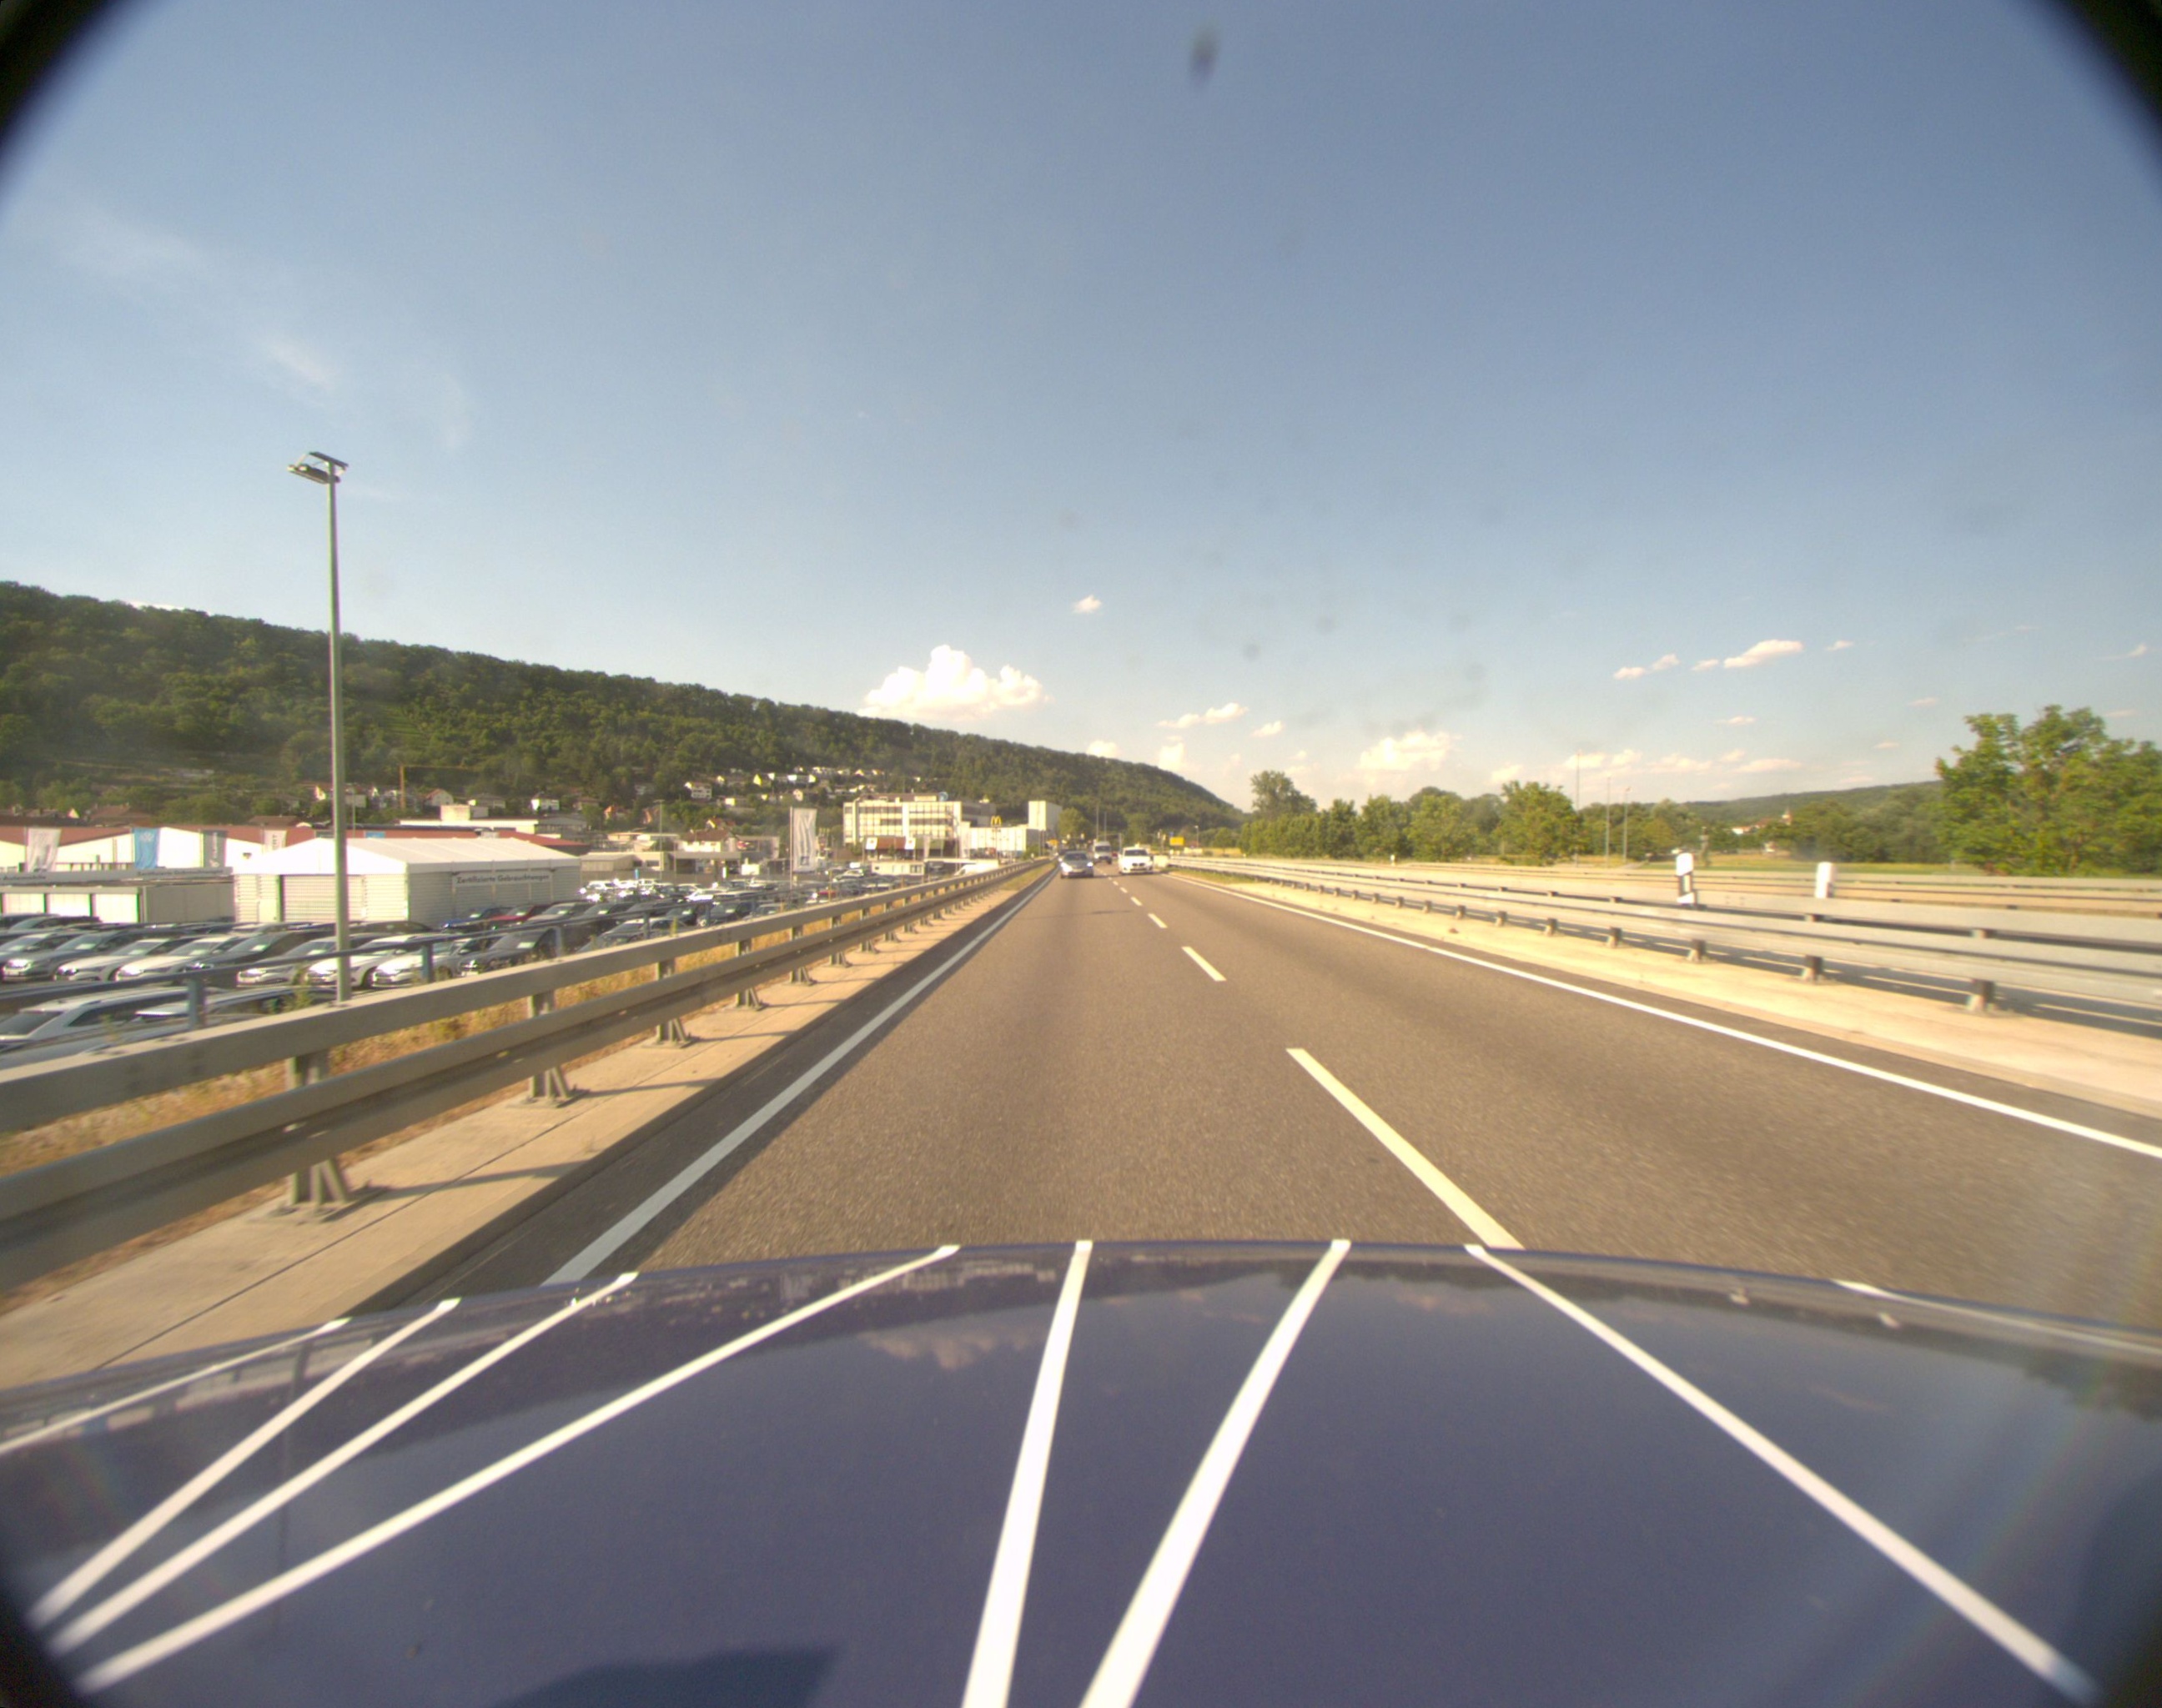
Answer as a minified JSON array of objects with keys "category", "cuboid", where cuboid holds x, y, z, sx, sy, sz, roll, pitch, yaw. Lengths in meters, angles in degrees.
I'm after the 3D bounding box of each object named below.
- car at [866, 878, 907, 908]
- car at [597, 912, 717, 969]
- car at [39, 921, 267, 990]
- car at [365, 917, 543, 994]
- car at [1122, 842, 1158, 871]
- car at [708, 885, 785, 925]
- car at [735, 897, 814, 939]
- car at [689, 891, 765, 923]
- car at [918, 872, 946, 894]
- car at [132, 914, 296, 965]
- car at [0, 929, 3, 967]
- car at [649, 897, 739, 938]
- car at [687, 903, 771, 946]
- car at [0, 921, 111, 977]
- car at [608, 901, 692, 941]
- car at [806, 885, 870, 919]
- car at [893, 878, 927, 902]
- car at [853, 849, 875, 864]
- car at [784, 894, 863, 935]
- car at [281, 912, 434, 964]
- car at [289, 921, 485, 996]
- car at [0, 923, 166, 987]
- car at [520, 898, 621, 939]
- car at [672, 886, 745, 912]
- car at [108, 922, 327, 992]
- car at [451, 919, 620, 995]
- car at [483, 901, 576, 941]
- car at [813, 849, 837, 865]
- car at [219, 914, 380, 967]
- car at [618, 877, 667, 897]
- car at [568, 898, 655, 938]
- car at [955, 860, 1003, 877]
[{"category":"car","cuboid":[-13.267,2.637,52.058,1.885,1.616,4.726,-2,1,-4]},{"category":"car","cuboid":[-17.203,3.454,31.167,1.884,1.627,4.730,-2,1,5]},{"category":"car","cuboid":[-31.845,3.417,26.358,1.884,1.627,4.729,-2,1,3]},{"category":"car","cuboid":[-20.097,3.180,24.684,1.840,1.706,4.665,-2,1,-1]},{"category":"car","cuboid":[3.438,0.107,44.791,1.825,1.552,3.999,-2,1,1]},{"category":"car","cuboid":[-20.112,3.012,45.942,1.883,1.920,4.732,-2,1,10]},{"category":"car","cuboid":[-15.837,3.249,39.594,1.884,1.627,4.730,-2,1,4]},{"category":"car","cuboid":[-22.188,3.276,47.894,1.883,1.513,4.732,-2,1,10]},{"category":"car","cuboid":[-13.393,2.577,68.423,1.742,1.616,4.309,-2,1,-2]},{"category":"car","cuboid":[-38.972,3.798,34.357,1.883,1.627,4.574,-2,1,5]},{"category":"car","cuboid":[-43.794,3.745,27.739,1.884,1.627,4.730,-2,1,5]},{"category":"car","cuboid":[-20.397,3.302,40.300,1.883,1.627,4.730,-2,1,6]},{"category":"car","cuboid":[-18.274,3.624,39.718,1.884,1.627,4.729,-2,1,4]},{"category":"car","cuboid":[-38.921,3.526,27.266,1.884,1.627,4.730,-2,1,5]},{"category":"car","cuboid":[-22.844,3.514,40.428,1.778,1.674,4.001,-2,1,7]},{"category":"car","cuboid":[-14.659,2.872,46.163,1.884,1.616,4.730,-2,1,5]},{"category":"car","cuboid":[-13.732,2.891,61.340,1.742,1.616,4.310,-2,1,0]},{"category":"car","cuboid":[-36.437,0.413,127.745,1.759,2.233,5.297,-2,1,3]},{"category":"car","cuboid":[-13.164,3.065,39.238,1.883,1.616,4.731,-2,1,8]},{"category":"car","cuboid":[-31.675,3.623,33.509,1.883,1.627,4.730,-2,1,5]},{"category":"car","cuboid":[-22.434,3.311,24.904,1.884,1.627,4.729,-2,1,2]},{"category":"car","cuboid":[-36.600,3.581,27.117,1.884,1.627,4.730,-2,1,5]},{"category":"car","cuboid":[-27.507,3.428,41.176,1.883,1.627,4.730,-2,1,6]},{"category":"car","cuboid":[-27.575,3.328,56.316,4.434,1.627,1.886,-2,2,8]},{"category":"car","cuboid":[-29.304,3.436,26.080,1.884,1.627,4.730,-2,1,4]},{"category":"car","cuboid":[-17.341,3.205,24.533,2.004,1.641,4.728,-2,1,-1]},{"category":"car","cuboid":[-29.925,3.620,41.415,1.778,1.674,4.001,-2,1,7]},{"category":"car","cuboid":[-41.798,0.474,124.234,1.759,2.535,5.469,-2,1,3]},{"category":"car","cuboid":[-34.213,3.727,33.513,1.883,1.627,4.730,-2,1,5]},{"category":"car","cuboid":[-45.884,3.440,79.560,3.995,1.849,1.927,-2,2,8]},{"category":"car","cuboid":[-25.068,3.395,40.744,1.778,1.674,4.001,-2,1,7]},{"category":"car","cuboid":[-13.288,1.913,99.476,5.895,2.002,2.000,-2,2,3]}]
